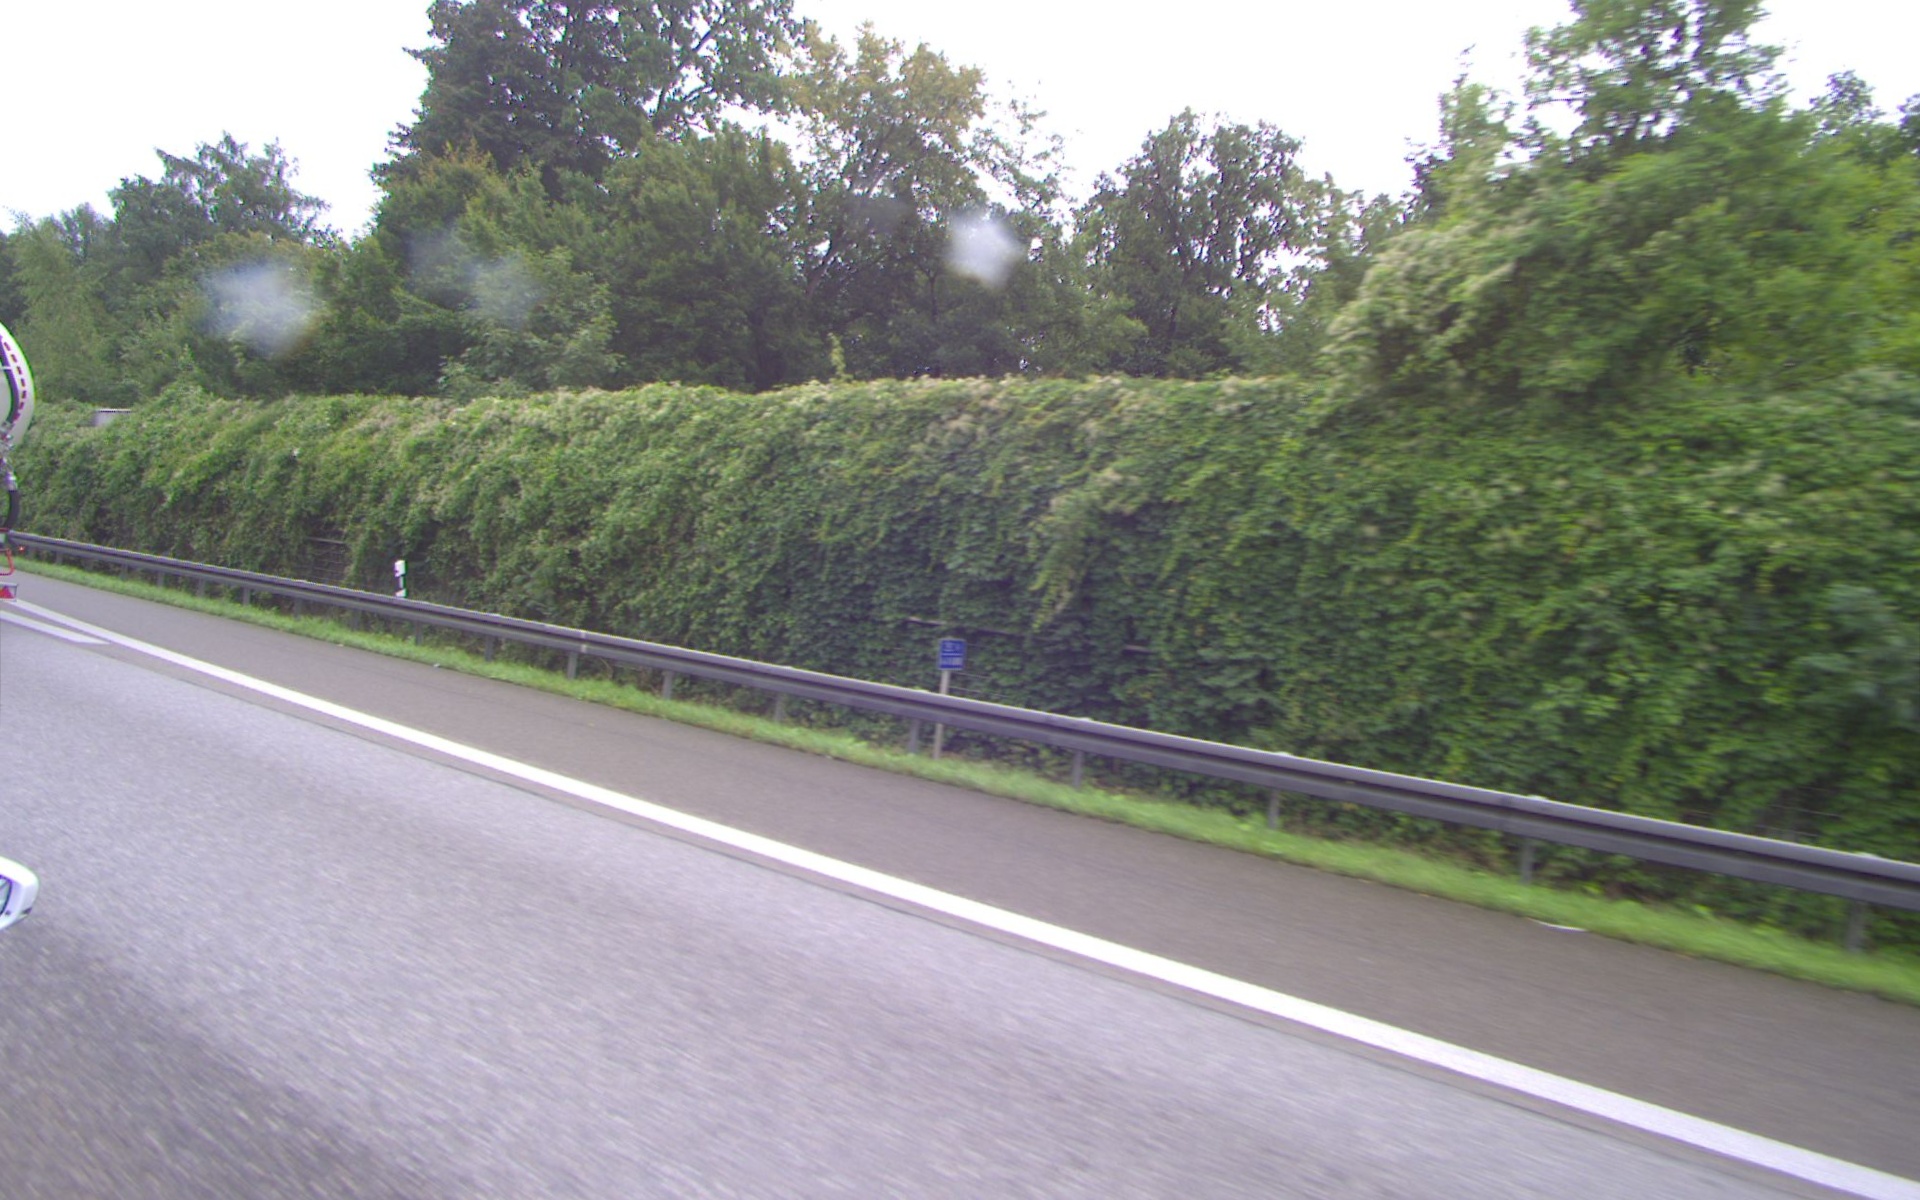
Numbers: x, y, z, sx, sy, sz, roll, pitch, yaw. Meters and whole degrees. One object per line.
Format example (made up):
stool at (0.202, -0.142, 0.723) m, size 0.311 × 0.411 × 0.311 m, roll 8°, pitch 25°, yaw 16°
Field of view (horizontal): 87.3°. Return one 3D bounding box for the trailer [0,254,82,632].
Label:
trailer at (-16.170, -2.341, 13.552) m, size 12.914 × 3.985 × 2.672 m, roll 6°, pitch -1°, yaw 32°
